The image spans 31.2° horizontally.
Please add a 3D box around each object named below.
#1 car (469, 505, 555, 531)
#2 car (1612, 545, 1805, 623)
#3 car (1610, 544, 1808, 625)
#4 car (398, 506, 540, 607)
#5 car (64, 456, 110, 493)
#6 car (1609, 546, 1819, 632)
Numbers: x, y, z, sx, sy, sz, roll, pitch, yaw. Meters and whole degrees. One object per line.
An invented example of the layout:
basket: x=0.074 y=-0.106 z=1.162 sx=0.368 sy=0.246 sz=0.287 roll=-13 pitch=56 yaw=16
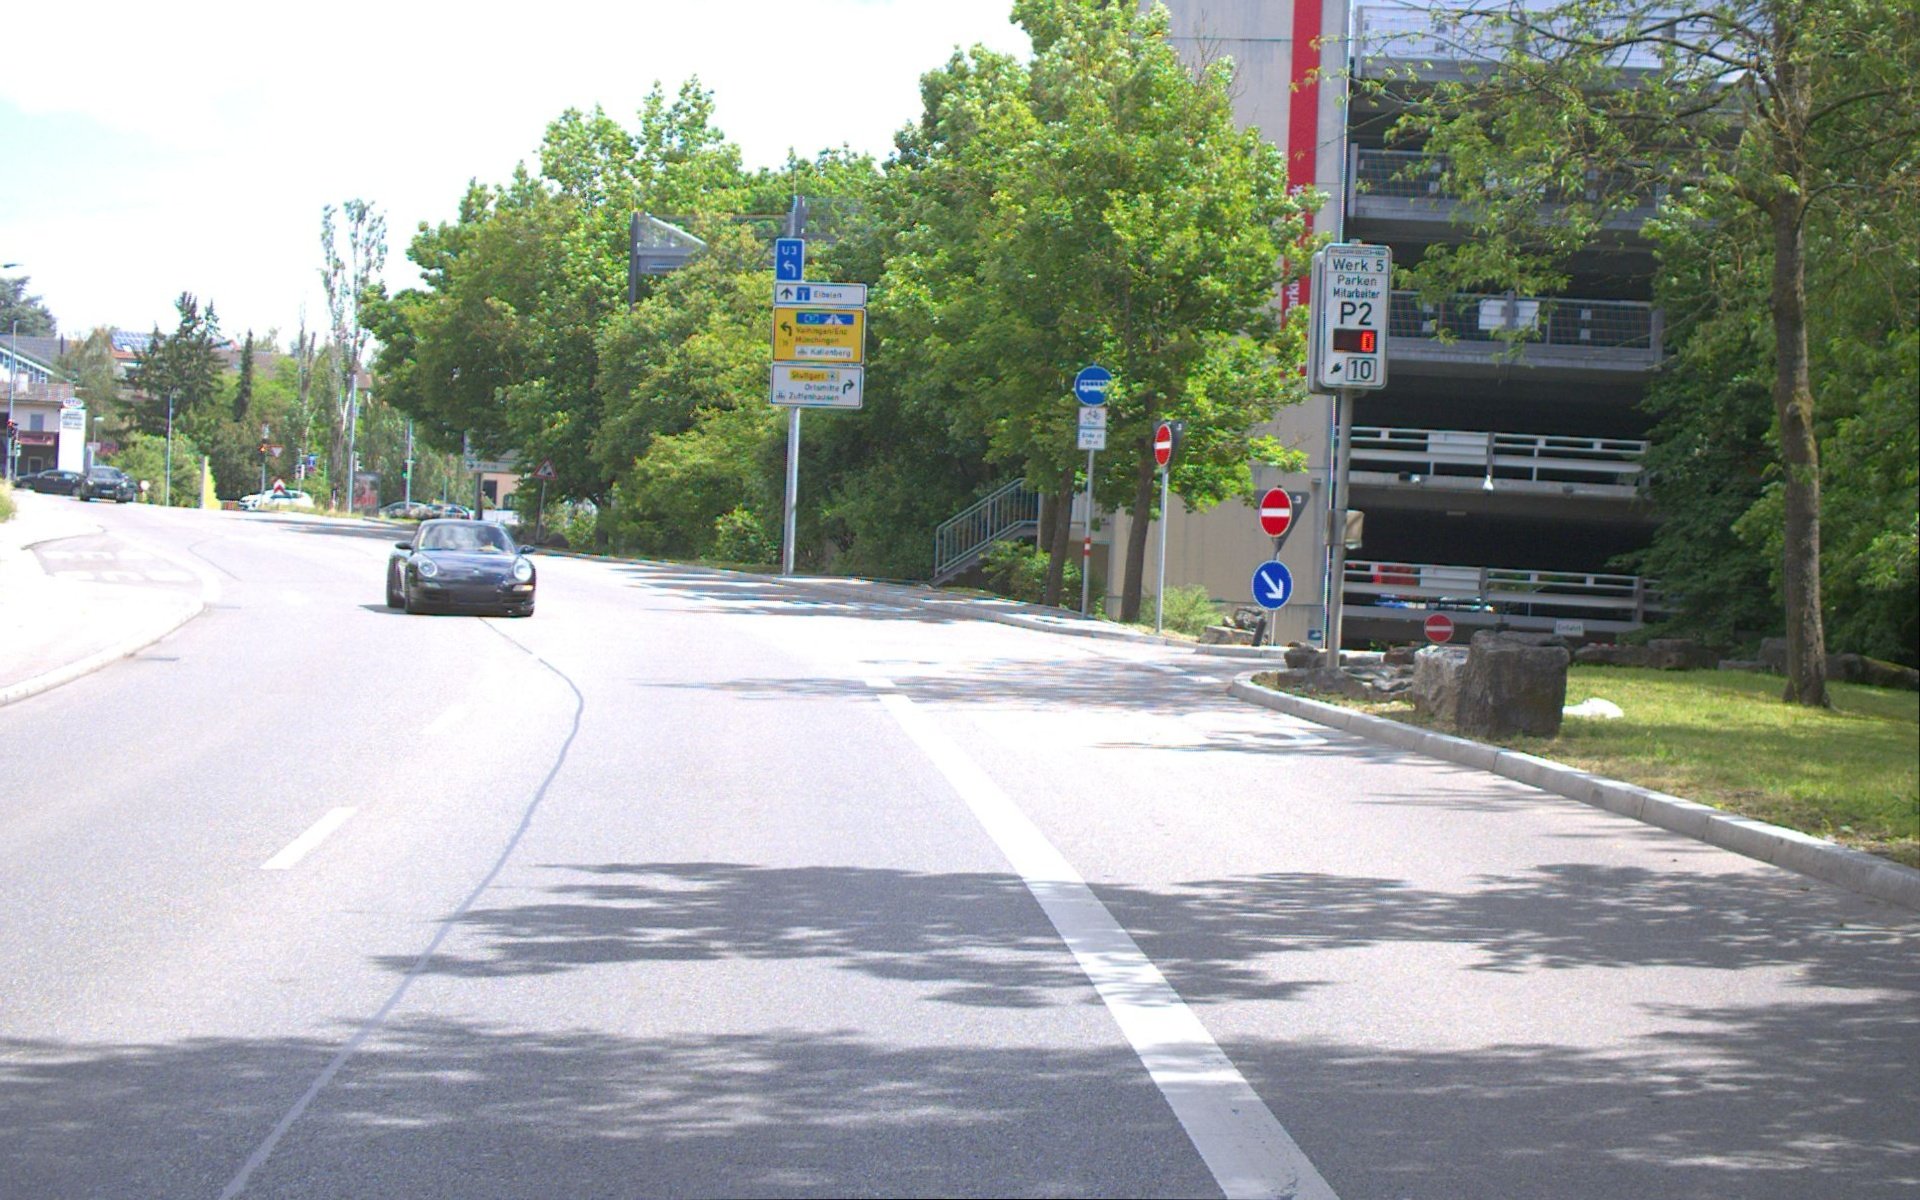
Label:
car: x=-24.733 y=-4.530 z=189.794 sx=4.593 sy=1.287 sz=1.911 roll=2 pitch=1 yaw=-5
car: x=17.658 y=-0.392 z=81.151 sx=4.316 sy=1.625 sz=1.999 roll=3 pitch=1 yaw=12
car: x=17.225 y=-0.378 z=79.130 sx=4.316 sy=1.625 sz=1.999 roll=3 pitch=1 yaw=12
car: x=-6.782 y=-0.622 z=47.766 sx=1.734 sy=1.296 sz=4.005 roll=1 pitch=1 yaw=-5
car: x=-38.659 y=-5.572 z=152.223 sx=1.822 sy=1.552 sz=4.631 roll=1 pitch=2 yaw=-16
car: x=16.342 y=-0.256 z=74.595 sx=4.316 sy=1.625 sz=1.999 roll=3 pitch=1 yaw=12
